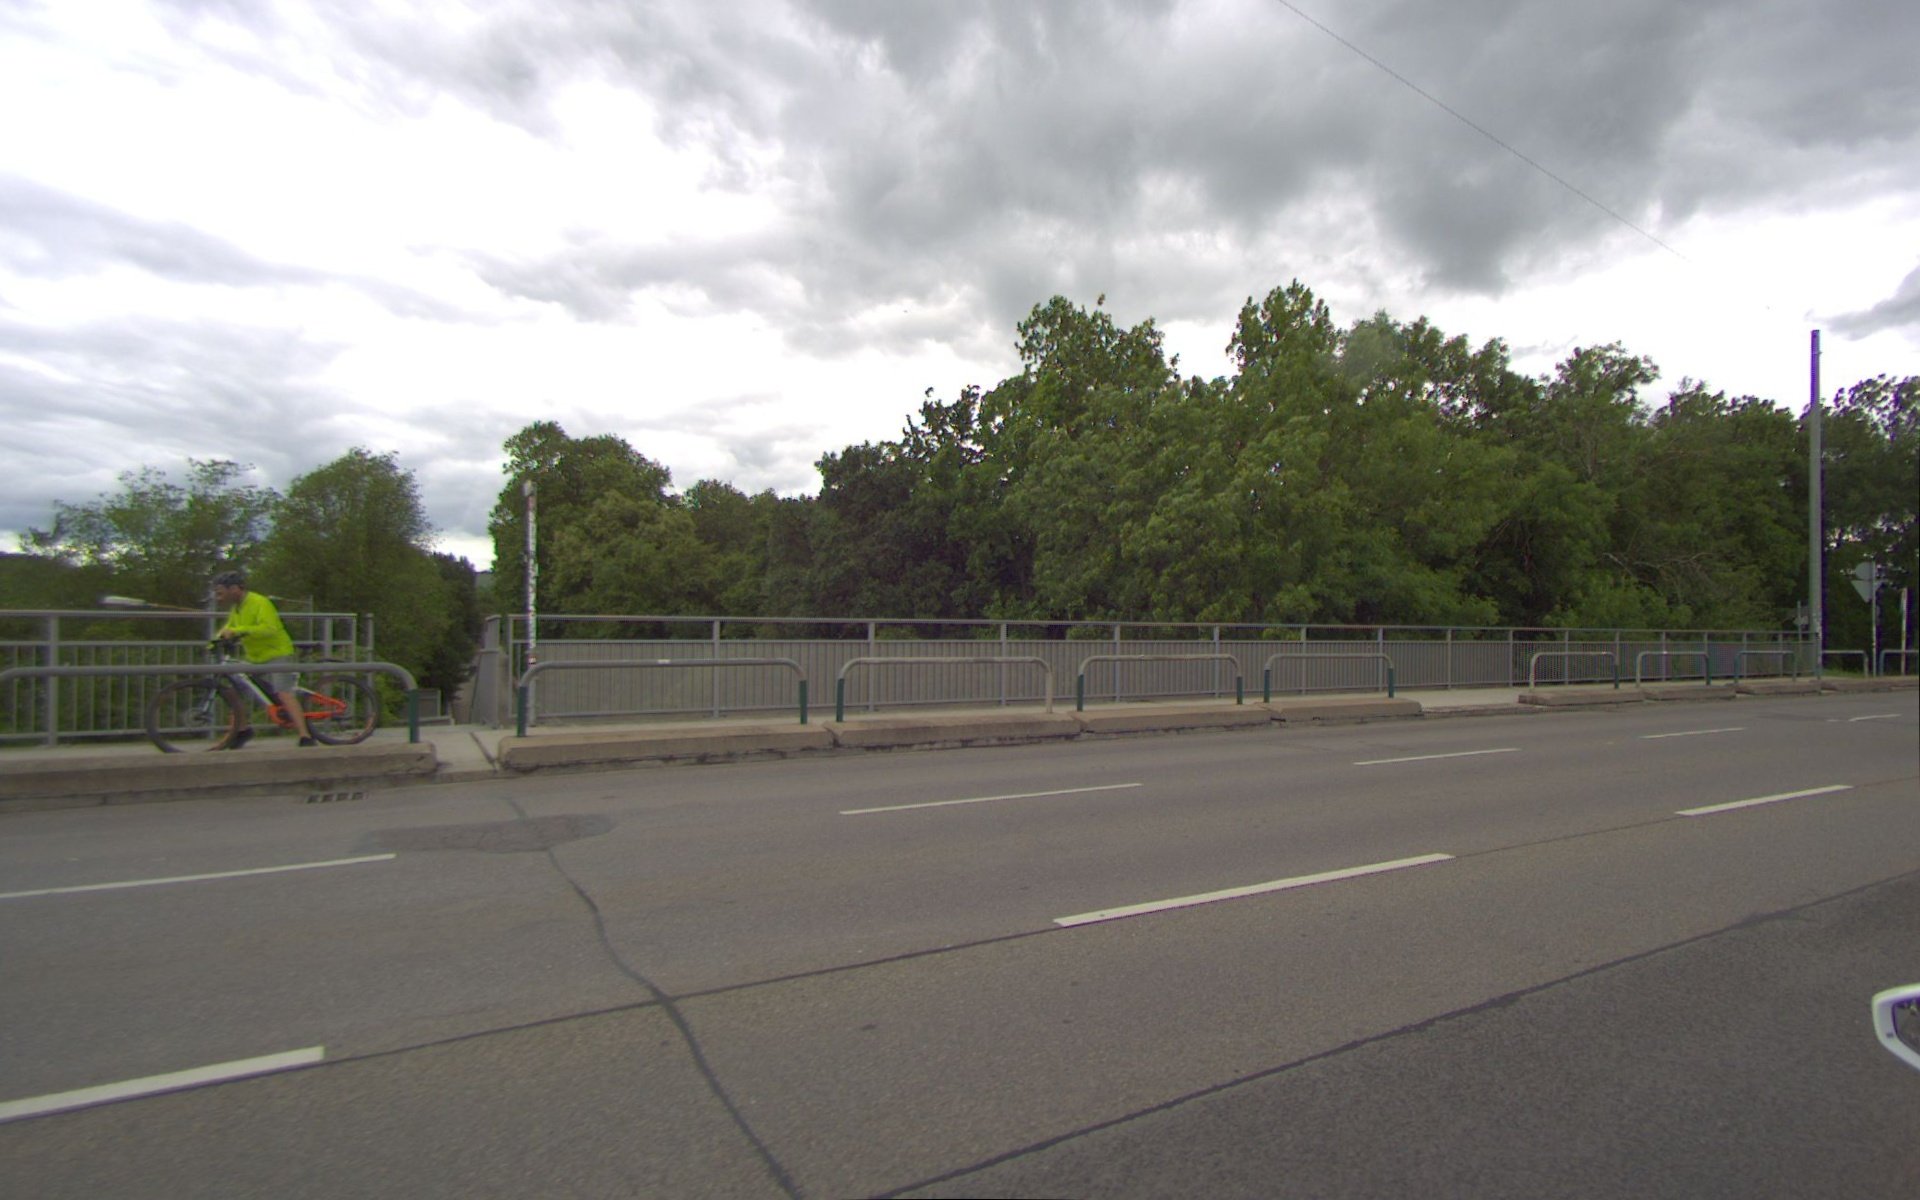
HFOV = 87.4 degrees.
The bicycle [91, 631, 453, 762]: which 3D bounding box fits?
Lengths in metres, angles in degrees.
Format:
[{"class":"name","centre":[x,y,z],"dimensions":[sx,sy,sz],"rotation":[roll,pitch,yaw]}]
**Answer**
[{"class":"bicycle","centre":[-6.597,0.857,9.868],"dimensions":[0.905,1.065,2.791],"rotation":[0,-1,34]}]

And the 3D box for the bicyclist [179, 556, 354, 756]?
[{"class":"bicyclist","centre":[-6.693,0.510,9.721],"dimensions":[0.890,1.788,1.132],"rotation":[0,-1,35]}]
